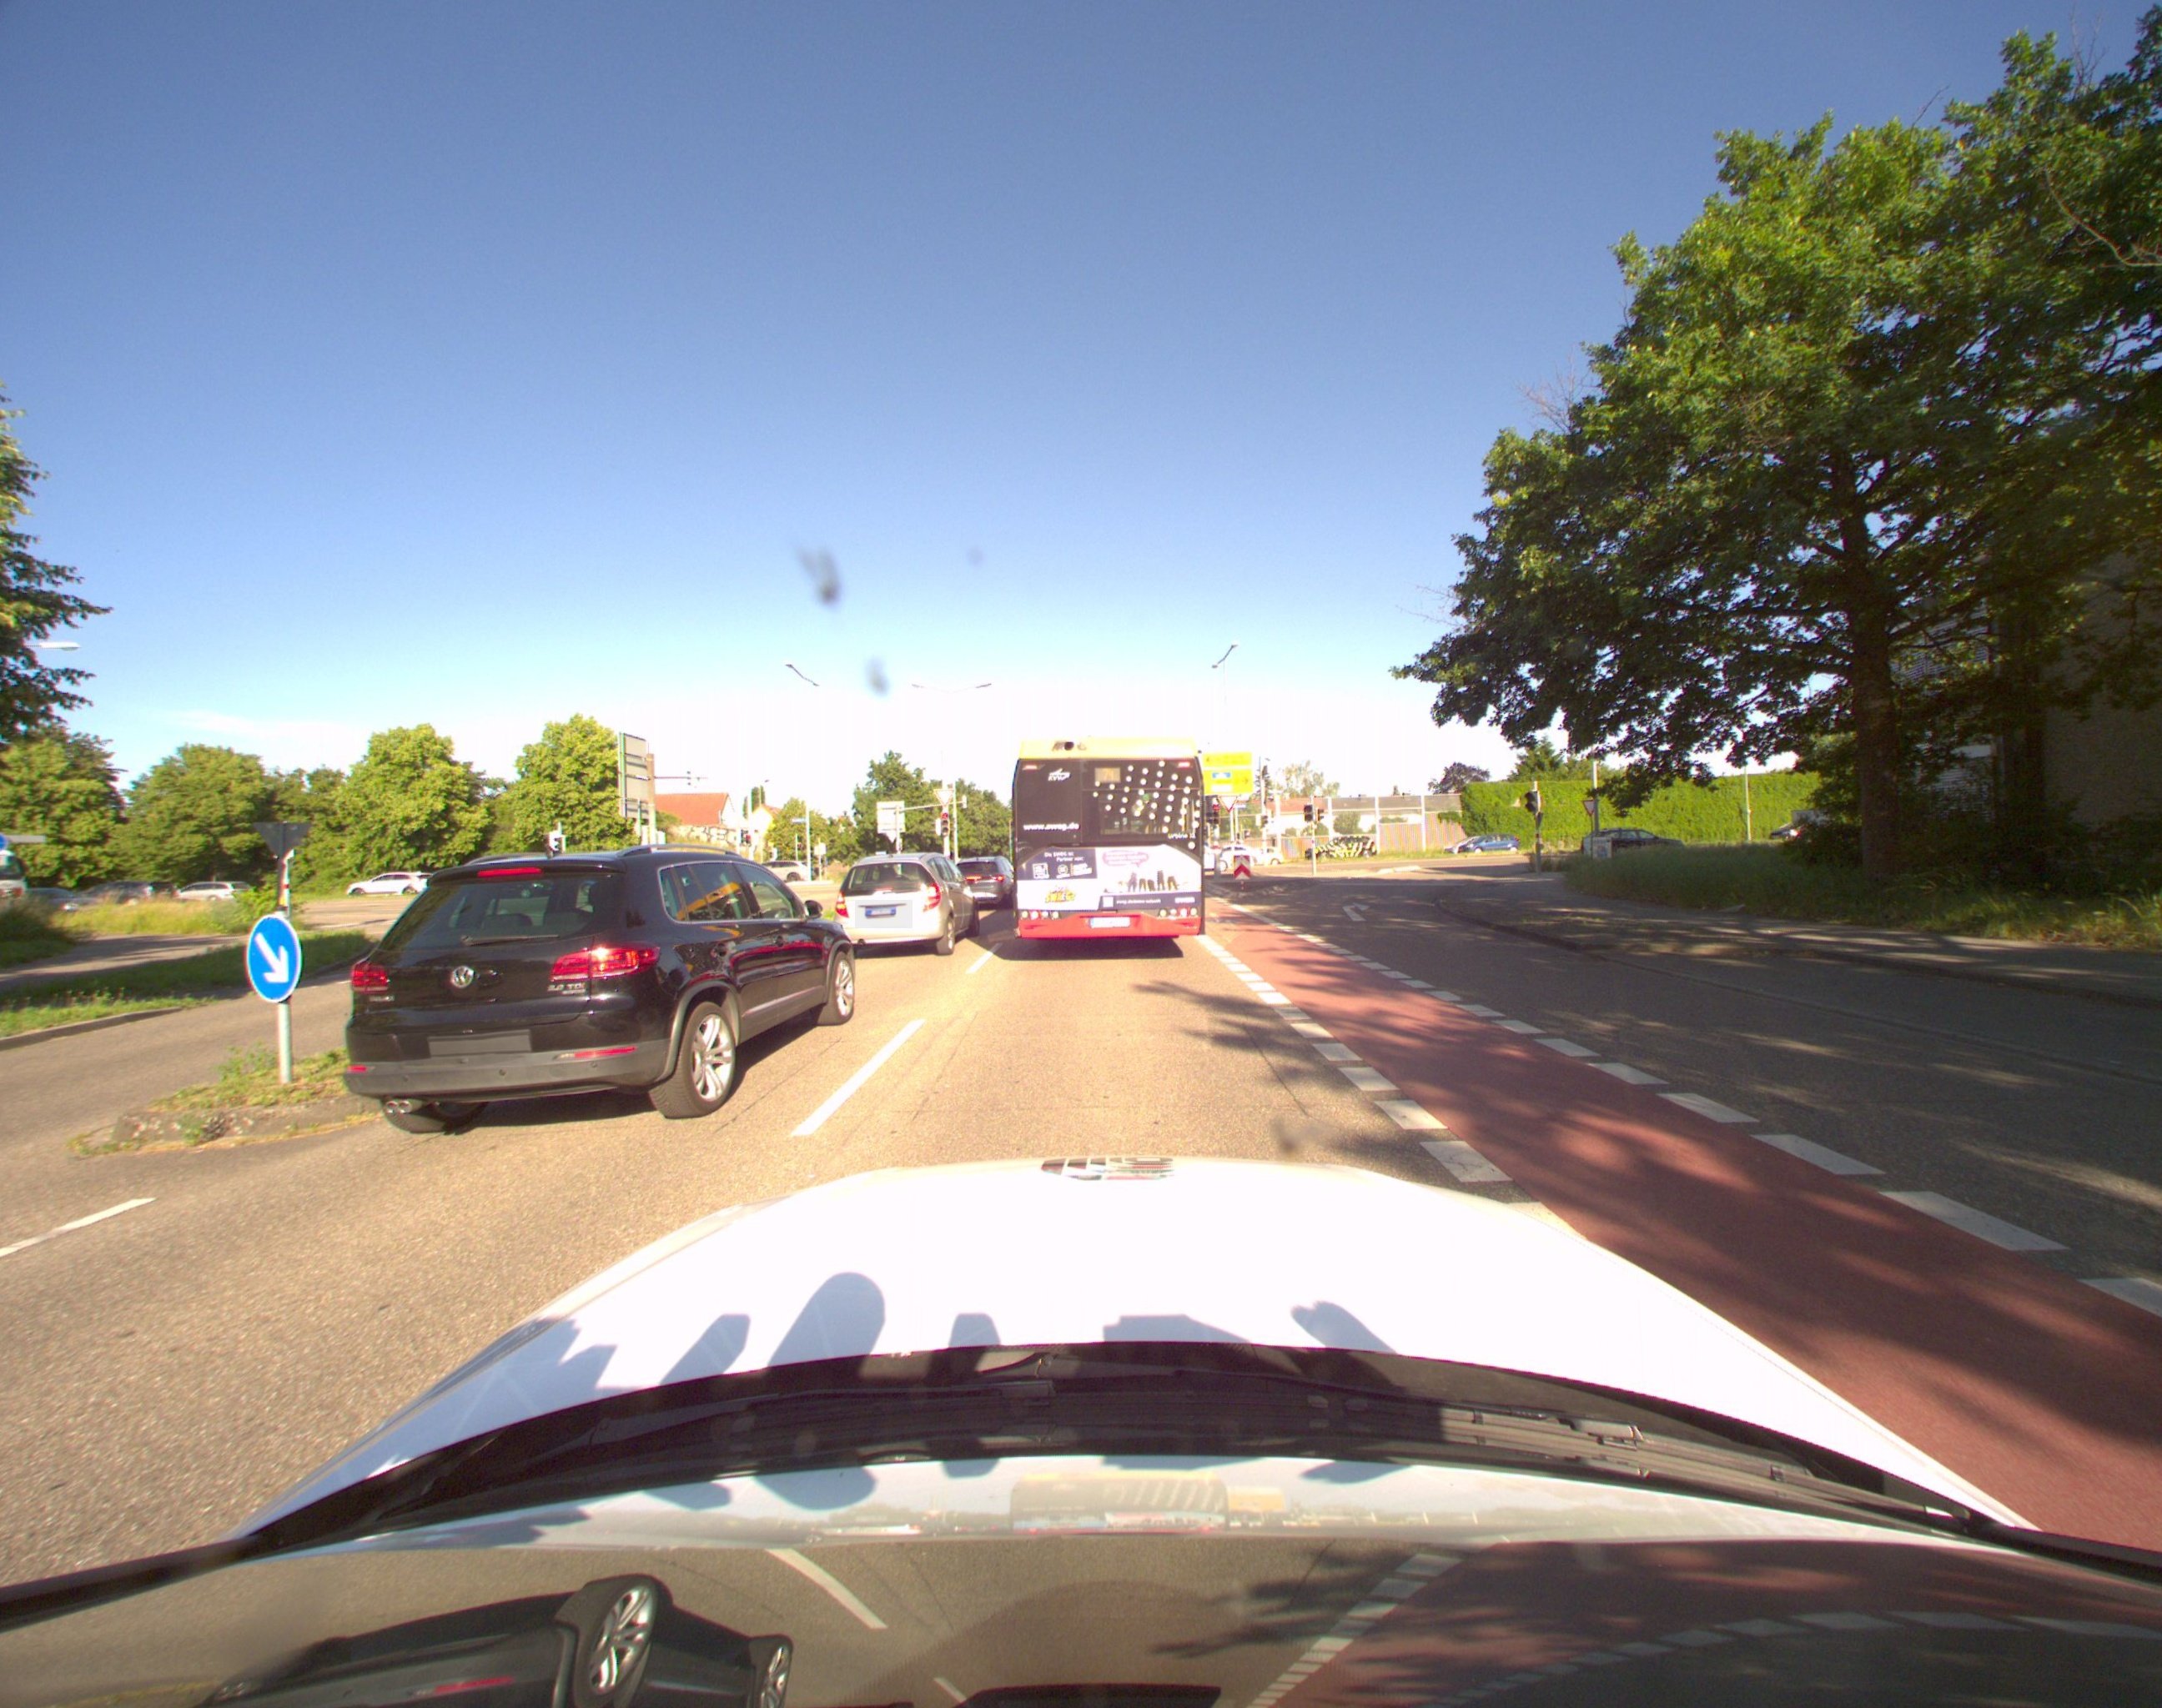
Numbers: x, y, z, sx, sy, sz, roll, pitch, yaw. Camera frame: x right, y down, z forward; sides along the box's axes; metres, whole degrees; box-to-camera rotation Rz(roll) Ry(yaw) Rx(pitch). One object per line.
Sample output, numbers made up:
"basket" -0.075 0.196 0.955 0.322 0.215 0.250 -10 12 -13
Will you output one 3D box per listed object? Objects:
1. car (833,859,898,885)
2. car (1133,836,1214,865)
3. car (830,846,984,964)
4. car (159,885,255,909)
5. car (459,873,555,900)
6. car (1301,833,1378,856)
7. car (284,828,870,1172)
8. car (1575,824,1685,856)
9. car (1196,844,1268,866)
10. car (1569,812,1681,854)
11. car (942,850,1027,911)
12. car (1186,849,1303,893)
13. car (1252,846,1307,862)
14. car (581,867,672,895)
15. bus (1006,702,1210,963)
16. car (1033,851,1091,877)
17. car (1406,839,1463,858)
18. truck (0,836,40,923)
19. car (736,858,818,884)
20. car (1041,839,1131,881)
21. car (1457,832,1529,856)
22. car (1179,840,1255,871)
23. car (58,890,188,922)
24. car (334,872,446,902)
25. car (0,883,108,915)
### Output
"car" -14.838 1.241 56.249 3.979 1.612 1.693 -2 0 -4
"car" 5.071 -0.182 45.077 4.211 1.562 1.761 -1 -1 -3
"car" -2.781 0.722 13.923 1.749 1.620 4.032 -2 1 -1
"car" -53.230 2.598 49.654 3.838 1.340 1.680 -1 -1 -4
"car" -29.845 1.687 42.427 3.842 1.313 1.504 -1 -1 -7
"car" 15.528 -0.579 49.019 4.148 1.302 1.574 -1 -1 -2
"car" -3.126 0.775 6.202 1.814 1.673 4.004 -3 -1 1
"car" 27.763 -0.703 41.261 4.450 1.441 1.681 -2 0 -2
"car" 9.634 0.052 52.035 4.277 1.302 1.574 -2 0 -2
"car" 17.972 -0.664 26.909 3.412 1.296 1.449 -1 -1 -24
"car" -2.601 0.691 22.703 1.581 1.485 3.687 -2 -1 4
"car" 5.139 0.521 25.732 3.500 1.302 1.579 -1 1 10
"car" 15.016 -0.004 61.655 3.746 1.136 1.574 -2 0 -2
"car" -24.097 1.402 43.264 3.842 1.385 1.678 -1 -1 -7
"bus" 0.544 -0.308 16.524 2.586 3.334 11.989 -1 0 2
"car" -1.358 0.693 56.718 3.979 1.612 1.693 -2 0 -4
"car" 26.009 -0.413 59.977 3.571 1.265 1.353 -2 0 0
"truck" -47.900 1.146 34.141 4.798 3.695 2.404 -2 0 -8
"car" -18.523 1.033 49.802 4.412 1.459 1.570 -1 -1 -9
"car" 0.210 0.287 38.590 4.107 1.801 1.454 -2 -1 -7
"car" 27.150 -0.647 53.746 3.980 1.553 1.693 -1 -1 -5
"car" 7.140 0.085 42.870 3.664 1.485 1.591 -2 -1 -5
"car" -54.404 2.954 46.316 4.693 1.540 1.997 -2 0 -5
"car" -40.208 1.917 47.459 4.690 1.540 1.998 -2 0 -2
"car" -47.773 2.065 37.456 3.842 1.313 1.504 -2 -1 -7
